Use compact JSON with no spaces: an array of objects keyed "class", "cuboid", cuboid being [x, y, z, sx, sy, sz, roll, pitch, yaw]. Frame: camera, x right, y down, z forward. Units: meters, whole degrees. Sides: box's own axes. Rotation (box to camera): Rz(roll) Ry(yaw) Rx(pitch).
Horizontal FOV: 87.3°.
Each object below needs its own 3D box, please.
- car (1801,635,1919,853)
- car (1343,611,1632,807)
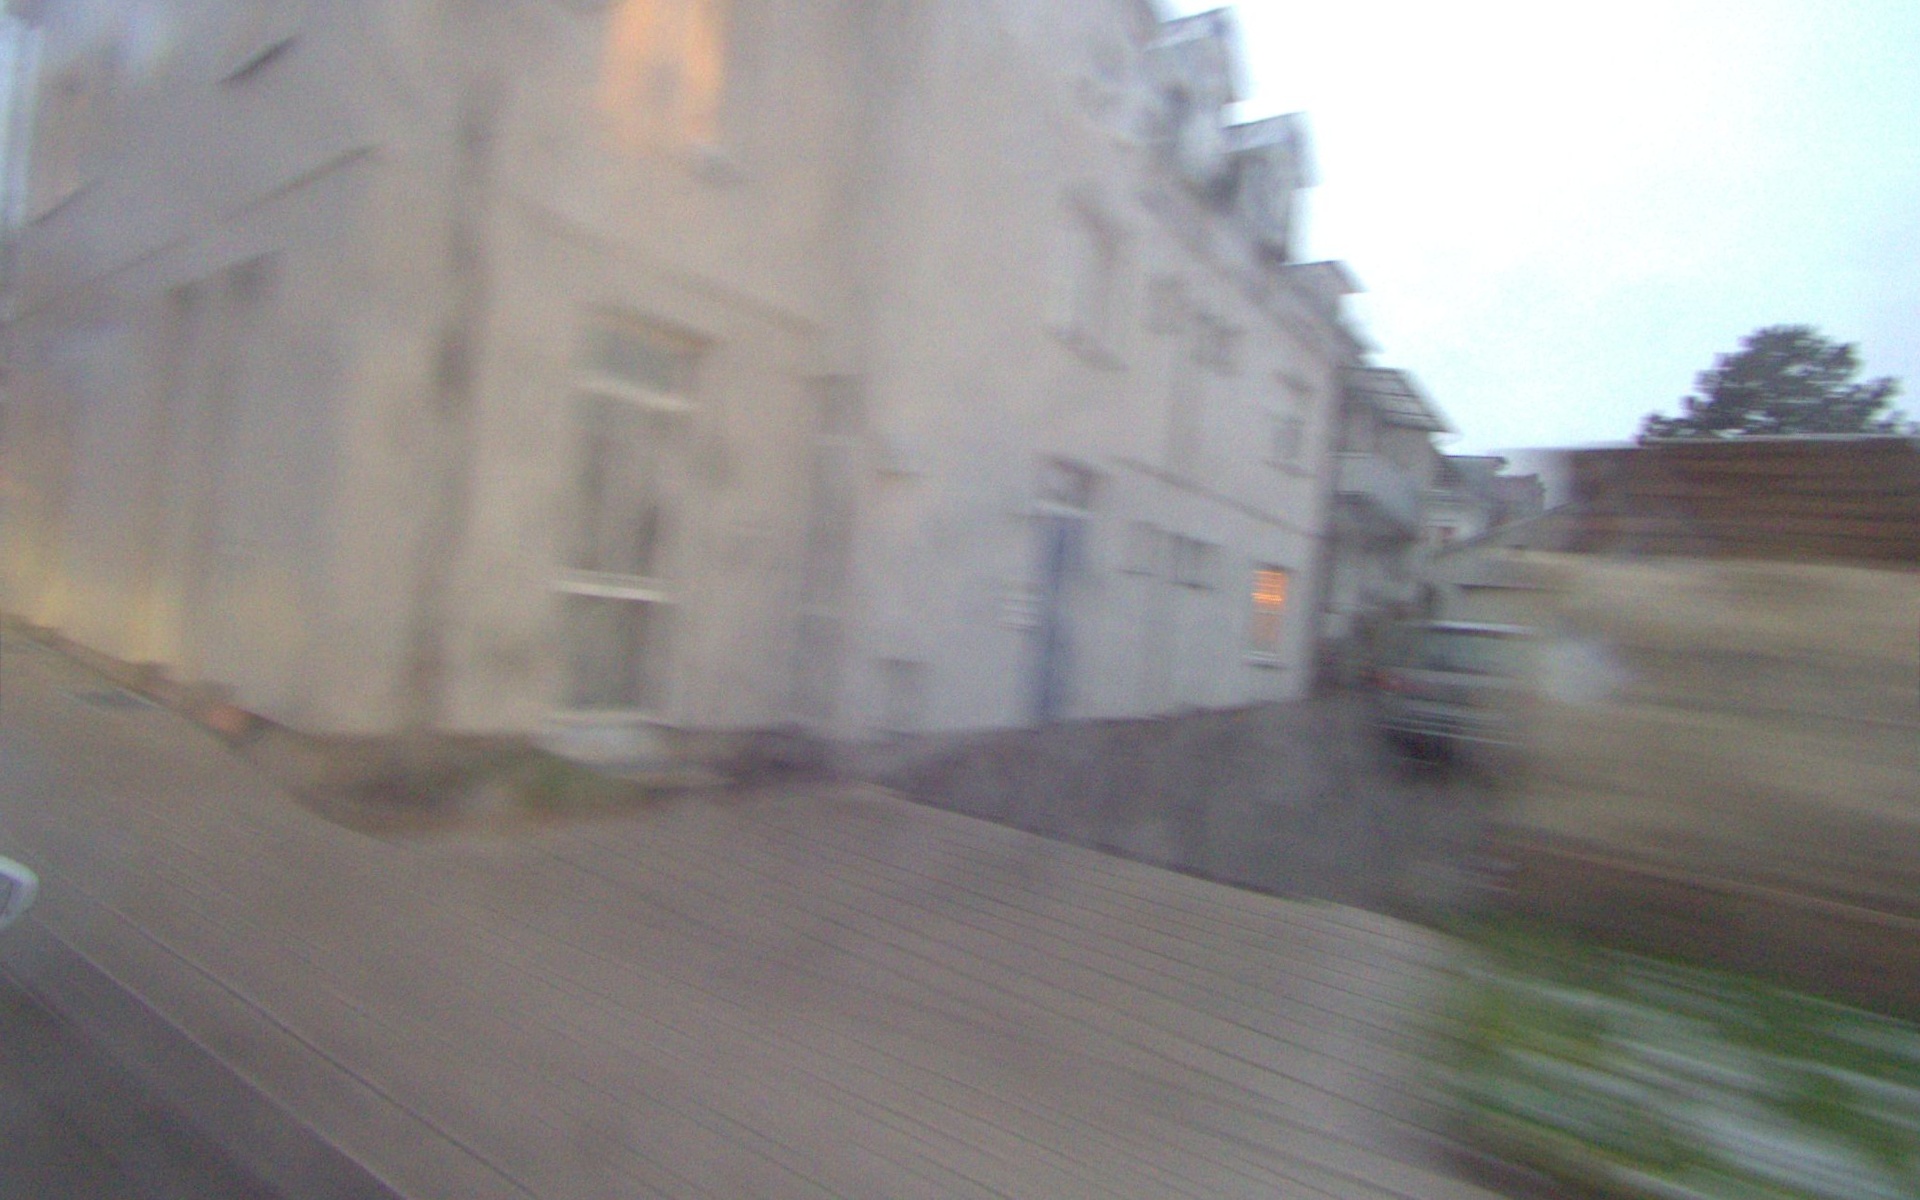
[{"class":"car","cuboid":[9.544,1.419,7.335,4.843,1.614,1.781,9,4,32]},{"class":"car","cuboid":[5.668,1.028,10.612,1.669,1.576,3.658,6,2,43]}]
